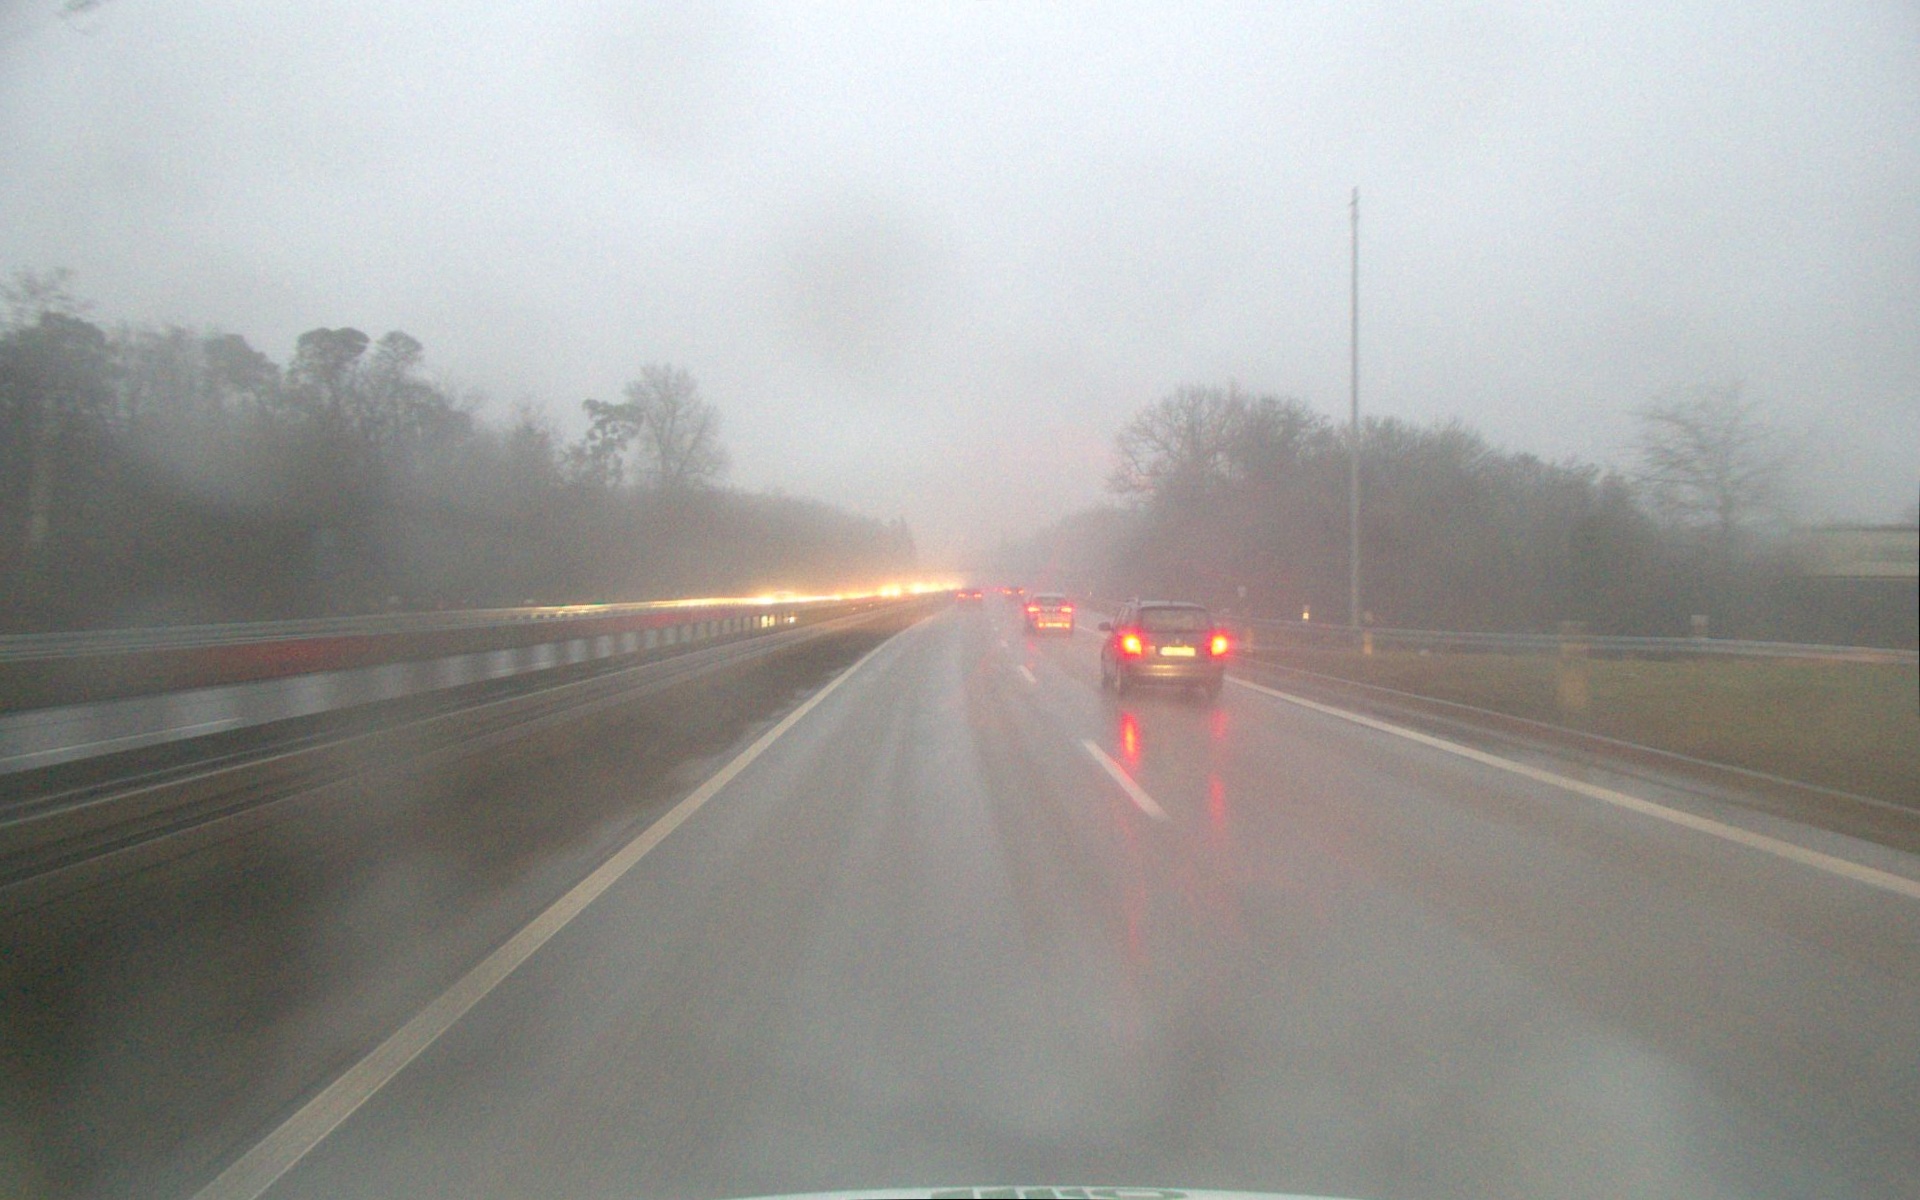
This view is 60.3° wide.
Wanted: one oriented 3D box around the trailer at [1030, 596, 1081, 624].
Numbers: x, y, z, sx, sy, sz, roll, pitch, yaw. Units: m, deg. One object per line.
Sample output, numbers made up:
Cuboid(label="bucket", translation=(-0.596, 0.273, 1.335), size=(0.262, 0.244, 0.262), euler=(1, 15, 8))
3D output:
Cuboid(label="trailer", translation=(3.427, 0.341, 59.752), size=(1.712, 0.941, 2.951), euler=(-1, 0, 1))

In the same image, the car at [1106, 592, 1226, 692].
Cuboid(label="car", translation=(3.301, 0.632, 27.025), size=(1.561, 1.517, 3.595), euler=(0, 0, 1))
